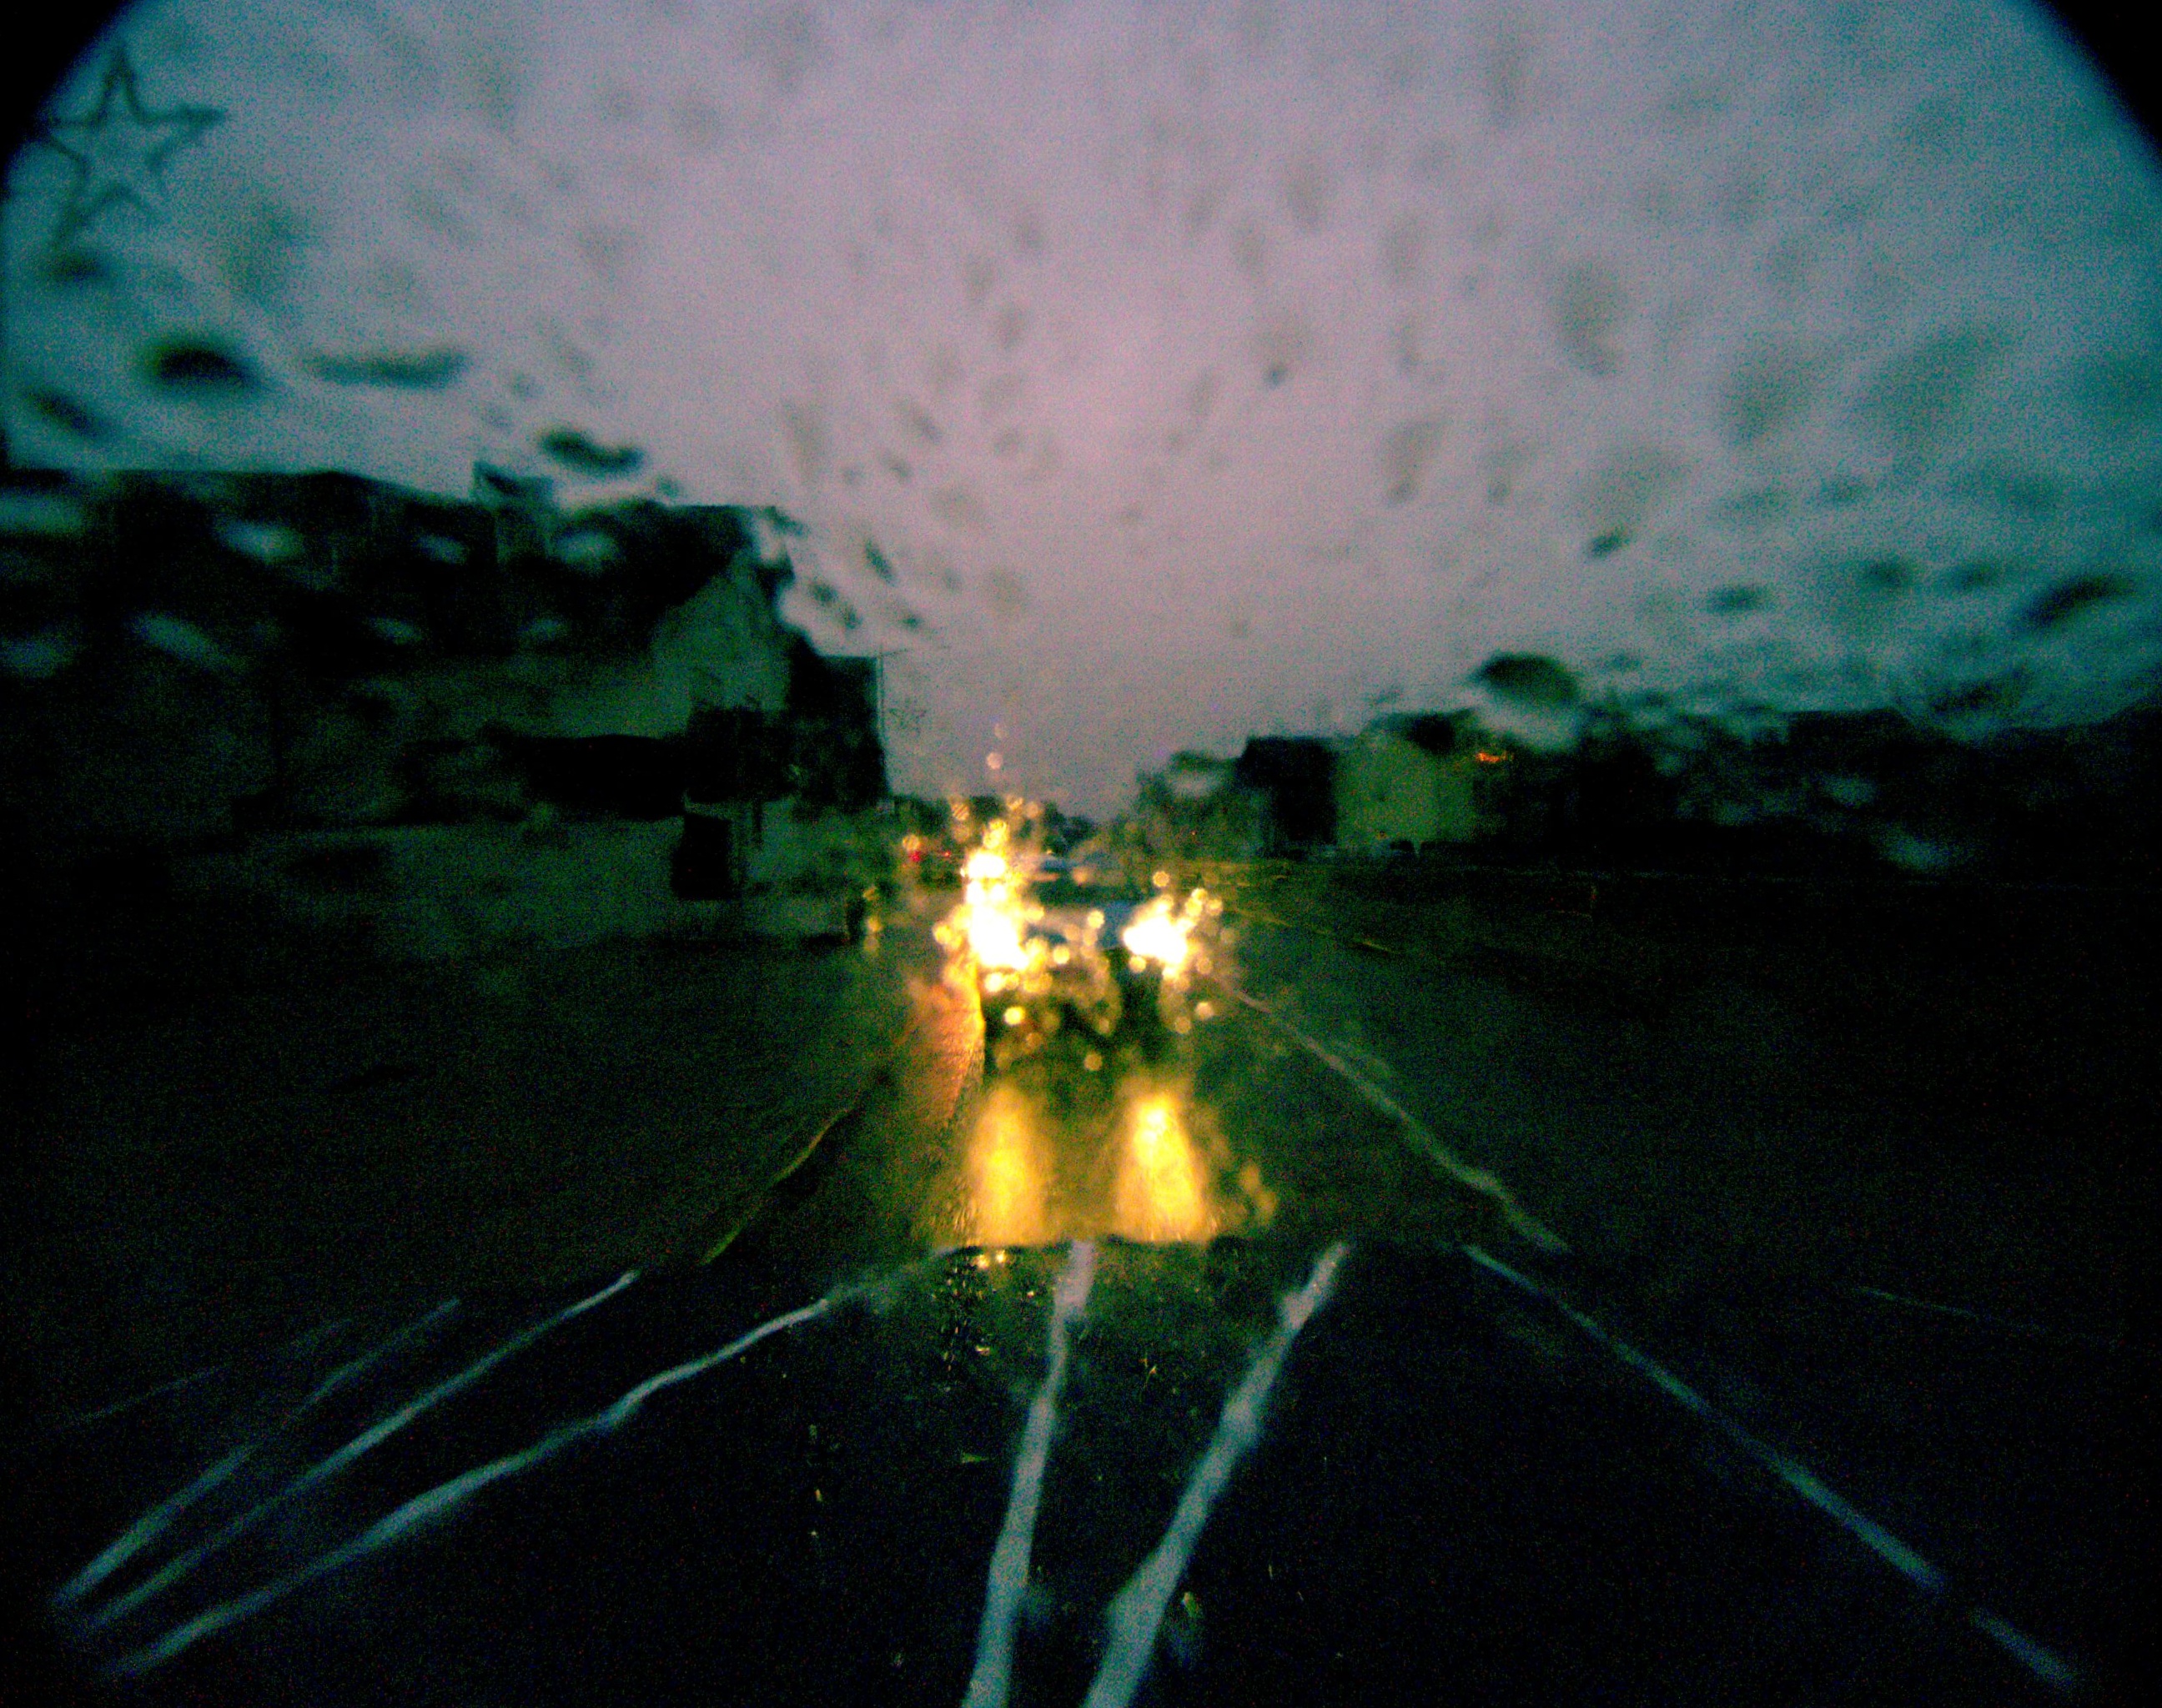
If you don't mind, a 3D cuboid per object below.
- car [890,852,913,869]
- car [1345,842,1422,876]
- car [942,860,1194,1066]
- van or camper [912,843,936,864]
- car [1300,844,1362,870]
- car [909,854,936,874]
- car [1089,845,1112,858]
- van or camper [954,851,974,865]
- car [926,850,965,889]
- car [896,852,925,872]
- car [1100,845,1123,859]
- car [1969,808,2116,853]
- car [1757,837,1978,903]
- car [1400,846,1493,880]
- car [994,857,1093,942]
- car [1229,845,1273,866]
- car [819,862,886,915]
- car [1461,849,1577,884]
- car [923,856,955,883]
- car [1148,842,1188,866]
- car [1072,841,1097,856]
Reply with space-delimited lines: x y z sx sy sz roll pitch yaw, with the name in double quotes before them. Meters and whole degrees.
"car" -17.746 0.567 75.031 1.671 1.567 4.489 -2 1 -19
"car" 17.002 0.274 42.930 1.881 1.768 4.496 0 0 -12
"car" -0.263 0.906 8.263 1.999 1.526 3.998 -4 0 -5
"van or camper" -20.892 -0.086 100.925 2.249 2.653 6.544 -1 0 -18
"car" 15.910 0.213 48.571 1.881 1.589 4.220 0 0 -12
"car" -12.250 0.724 58.394 1.659 1.446 4.231 1 0 -17
"car" 2.513 -0.310 100.087 1.903 1.509 3.994 -4 3 -14
"van or camper" -12.050 0.404 78.294 1.568 1.347 3.416 -1 0 -17
"car" -6.618 0.709 37.241 1.775 1.771 3.996 1 0 -10
"car" -15.430 0.689 68.581 1.964 1.524 5.000 -4 2 -19
"car" 3.792 -0.255 95.341 1.823 1.615 3.979 -4 1 -14
"car" 47.142 -1.138 37.386 2.000 2.002 3.995 -3 2 -12
"car" 20.616 0.346 20.170 1.570 1.571 3.817 0 1 -10
"car" 18.078 0.432 37.865 1.880 1.563 4.497 0 0 -10
"car" -0.991 0.904 17.441 1.907 1.630 4.563 0 1 -7
"car" 13.311 0.102 59.868 1.775 1.515 4.026 -1 1 -14
"car" -6.922 0.955 22.795 1.772 1.385 3.907 0 0 -19
"car" 18.835 0.515 32.940 1.880 1.425 4.497 0 0 -10
"car" -8.034 0.857 42.874 1.651 1.407 2.724 1 0 -14
"car" 7.021 -0.024 61.826 1.806 1.793 3.854 -2 1 -17
"car" 0.515 -0.791 107.291 2.001 1.894 4.350 -5 2 -20
